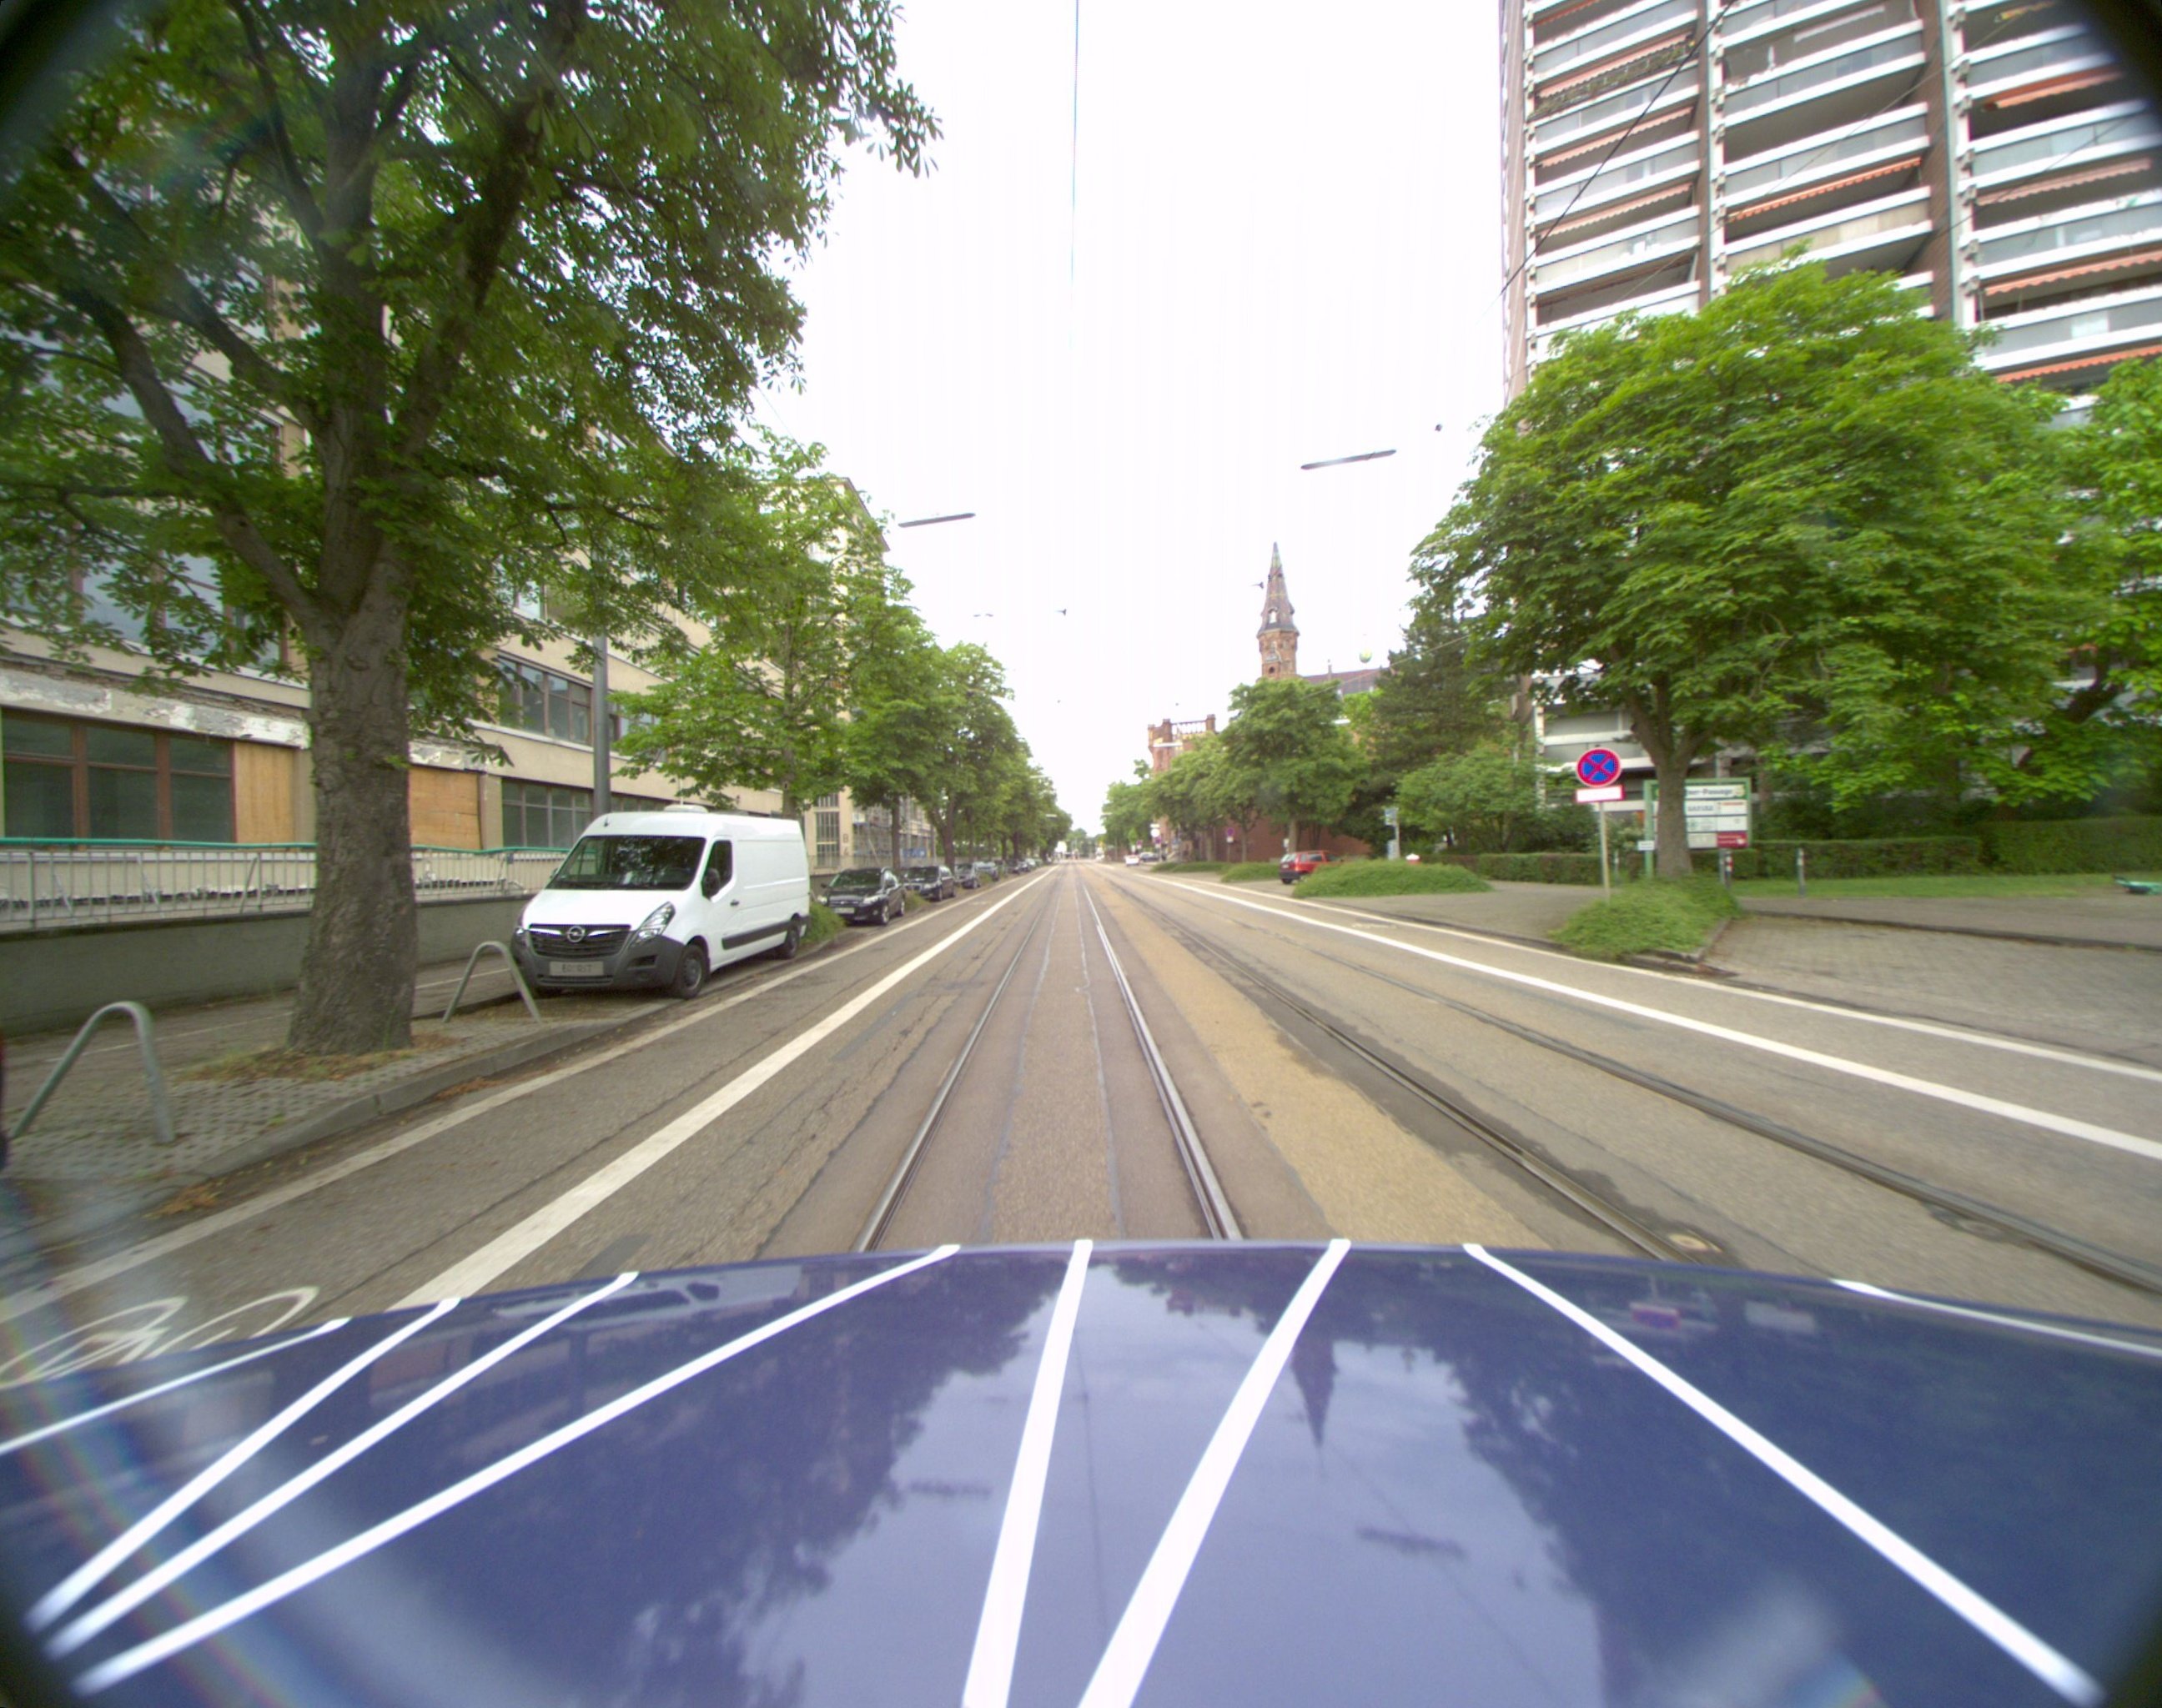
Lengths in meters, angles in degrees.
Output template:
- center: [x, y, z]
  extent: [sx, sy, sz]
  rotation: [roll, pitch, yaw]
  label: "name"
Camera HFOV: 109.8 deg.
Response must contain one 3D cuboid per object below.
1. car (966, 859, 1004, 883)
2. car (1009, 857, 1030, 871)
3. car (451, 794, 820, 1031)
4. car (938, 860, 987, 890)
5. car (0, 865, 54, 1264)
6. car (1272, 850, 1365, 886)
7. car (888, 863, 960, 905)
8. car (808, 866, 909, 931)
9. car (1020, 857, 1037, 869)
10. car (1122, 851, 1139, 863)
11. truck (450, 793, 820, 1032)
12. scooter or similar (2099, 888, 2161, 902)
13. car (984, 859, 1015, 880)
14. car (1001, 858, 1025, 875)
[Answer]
- center: [-6.399, 1.106, 51.236]
  extent: [1.999, 1.452, 4.392]
  rotation: [-2, 0, -1]
  label: "car"
- center: [-6.910, 1.069, 85.813]
  extent: [1.999, 1.452, 4.392]
  rotation: [-2, 0, -1]
  label: "car"
- center: [-5.931, 0.651, 11.267]
  extent: [2.118, 2.587, 5.491]
  rotation: [-2, 0, 0]
  label: "car"
- center: [-6.476, 1.098, 41.884]
  extent: [1.999, 1.452, 4.392]
  rotation: [-2, 0, -1]
  label: "car"
- center: [-5.725, 1.012, 1.543]
  extent: [1.658, 1.802, 4.083]
  rotation: [-2, 1, -1]
  label: "car"
- center: [10.364, 0.562, 33.177]
  extent: [3.504, 1.369, 1.632]
  rotation: [-2, 1, -14]
  label: "car"
- center: [-6.166, 1.135, 30.344]
  extent: [1.999, 1.452, 4.392]
  rotation: [-2, 0, -1]
  label: "car"
- center: [-5.920, 1.125, 20.688]
  extent: [1.826, 1.491, 4.104]
  rotation: [0, 1, -4]
  label: "car"
- center: [-6.872, 1.131, 99.678]
  extent: [1.999, 1.452, 4.392]
  rotation: [-2, 0, -1]
  label: "car"
- center: [6.947, 0.436, 106.613]
  extent: [1.999, 1.521, 3.999]
  rotation: [-1, 0, -1]
  label: "car"
- center: [-5.927, 0.651, 11.244]
  extent: [2.118, 2.587, 5.491]
  rotation: [-2, 0, 0]
  label: "truck"
- center: [20.140, 0.761, 14.373]
  extent: [1.219, 0.171, 0.297]
  rotation: [-4, 2, 6]
  label: "scooter or similar"
- center: [-6.329, 1.153, 59.286]
  extent: [1.999, 1.452, 4.392]
  rotation: [-2, 0, -1]
  label: "car"
- center: [-6.621, 1.214, 74.131]
  extent: [1.999, 1.452, 4.392]
  rotation: [-2, 0, -1]
  label: "car"
